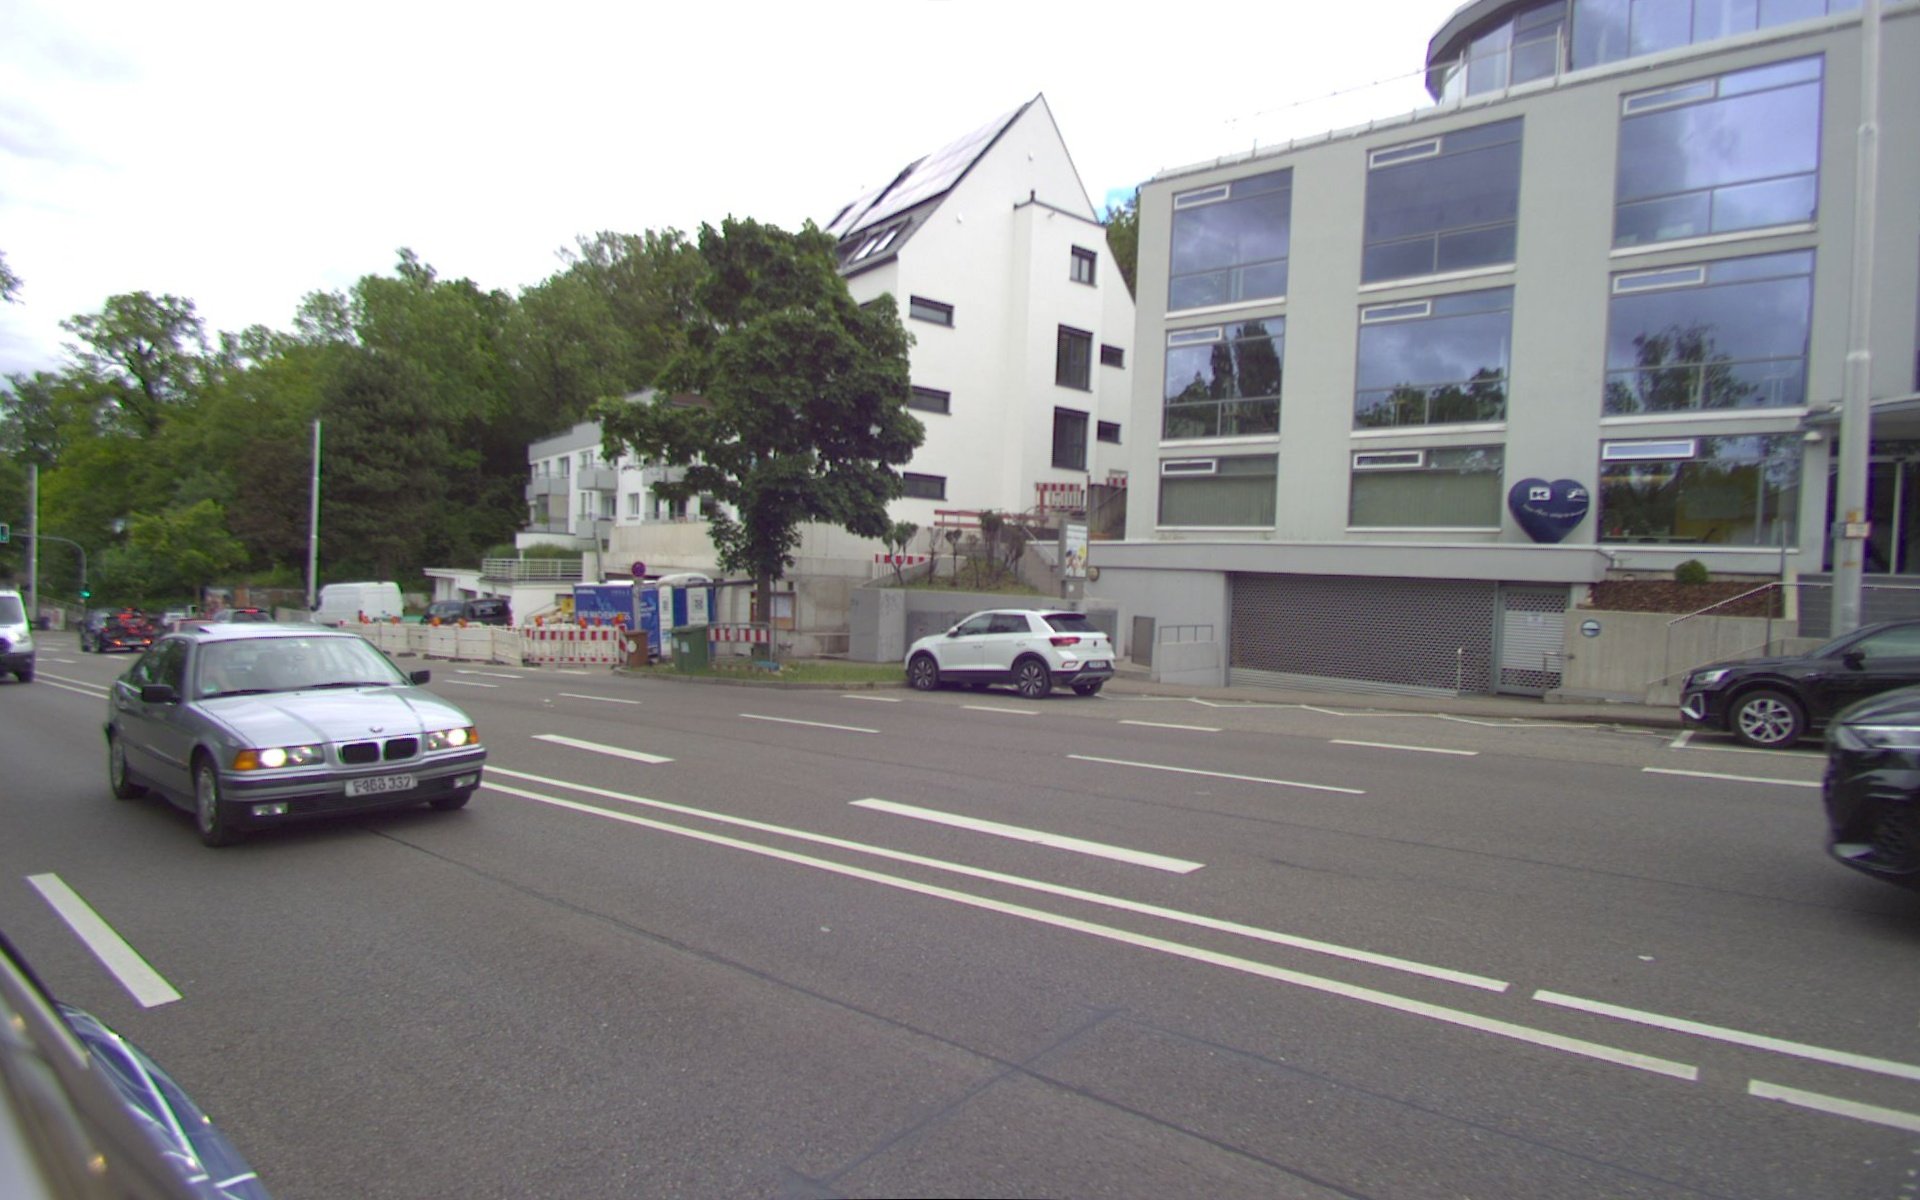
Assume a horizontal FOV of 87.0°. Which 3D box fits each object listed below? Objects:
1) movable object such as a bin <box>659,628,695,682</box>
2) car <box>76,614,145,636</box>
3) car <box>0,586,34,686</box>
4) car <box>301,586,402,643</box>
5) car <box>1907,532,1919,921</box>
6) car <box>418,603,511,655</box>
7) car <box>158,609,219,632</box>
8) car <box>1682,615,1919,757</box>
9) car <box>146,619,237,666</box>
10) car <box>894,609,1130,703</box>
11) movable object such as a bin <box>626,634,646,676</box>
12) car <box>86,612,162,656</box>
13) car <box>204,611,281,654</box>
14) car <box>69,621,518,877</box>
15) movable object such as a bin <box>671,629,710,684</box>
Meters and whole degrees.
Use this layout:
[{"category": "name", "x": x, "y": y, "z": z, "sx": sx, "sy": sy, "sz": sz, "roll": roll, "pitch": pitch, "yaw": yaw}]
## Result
[{"category": "movable object such as a bin", "x": -6.272, "y": 1.202, "z": 22.414, "sx": 0.577, "sy": 1.146, "sz": 0.586, "roll": 0, "pitch": -1, "yaw": -43}, {"category": "car", "x": -52.125, "y": 1.541, "z": 62.116, "sx": 3.260, "sy": 1.294, "sz": 1.562, "roll": -1, "pitch": -1, "yaw": 11}, {"category": "car", "x": -23.735, "y": 0.844, "z": 23.852, "sx": 6.262, "sy": 2.190, "sz": 1.974, "roll": -2, "pitch": -2, "yaw": 40}, {"category": "car", "x": -28.942, "y": 0.674, "z": 48.039, "sx": 6.526, "sy": 2.545, "sz": 1.974, "roll": -1, "pitch": 0, "yaw": 39}, {"category": "car", "x": 6.261, "y": 0.572, "z": 3.166, "sx": 4.763, "sy": 1.716, "sz": 1.827, "roll": -1, "pitch": -2, "yaw": 43}, {"category": "car", "x": -18.162, "y": 1.031, "z": 37.030, "sx": 4.253, "sy": 1.764, "sz": 1.786, "roll": -1, "pitch": 0, "yaw": 45}, {"category": "car", "x": -50.313, "y": 1.290, "z": 66.060, "sx": 1.561, "sy": 1.454, "sz": 3.295, "roll": 0, "pitch": 0, "yaw": -1}, {"category": "car", "x": 10.384, "y": 0.893, "z": 10.911, "sx": 4.088, "sy": 1.439, "sz": 1.655, "roll": -1, "pitch": -2, "yaw": 41}, {"category": "car", "x": -25.358, "y": 1.350, "z": 33.353, "sx": 4.323, "sy": 1.392, "sz": 1.729, "roll": -1, "pitch": -1, "yaw": 43}, {"category": "car", "x": 0.849, "y": 0.955, "z": 18.433, "sx": 4.238, "sy": 1.515, "sz": 1.650, "roll": -1, "pitch": -2, "yaw": 43}, {"category": "movable object such as a bin", "x": -7.752, "y": 1.308, "z": 24.209, "sx": 0.322, "sy": 0.982, "sz": 0.426, "roll": 0, "pitch": -1, "yaw": -43}, {"category": "car", "x": -32.918, "y": 1.307, "z": 39.797, "sx": 4.665, "sy": 1.609, "sz": 1.756, "roll": -1, "pitch": -1, "yaw": 43}, {"category": "car", "x": -28.821, "y": 1.258, "z": 40.592, "sx": 4.226, "sy": 1.609, "sz": 1.756, "roll": -1, "pitch": -1, "yaw": 43}, {"category": "car", "x": -5.294, "y": 0.873, "z": 7.750, "sx": 4.616, "sy": 1.393, "sz": 1.618, "roll": -1, "pitch": -1, "yaw": 40}, {"category": "movable object such as a bin", "x": -5.851, "y": 1.206, "z": 21.950, "sx": 0.581, "sy": 1.146, "sz": 0.646, "roll": 0, "pitch": -1, "yaw": -43}]
